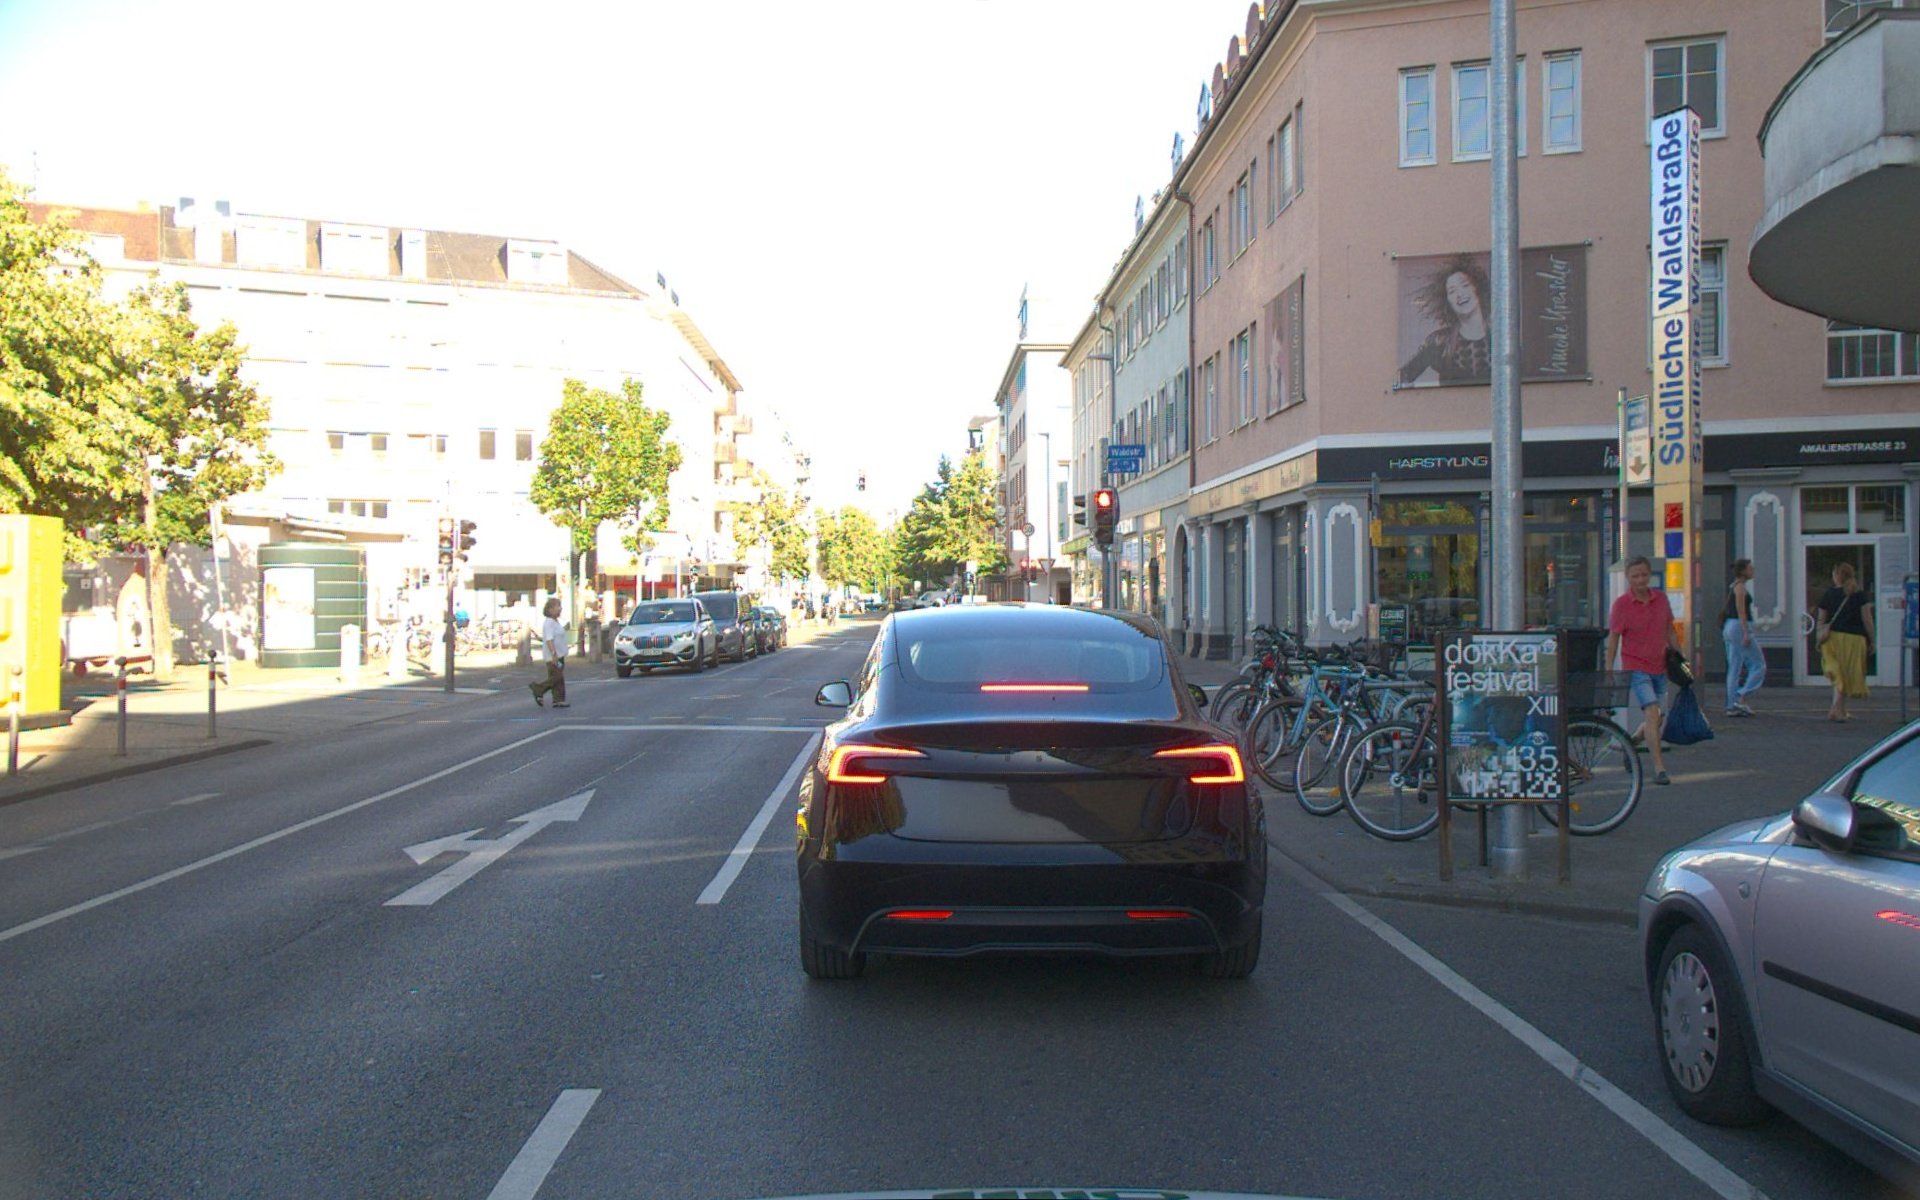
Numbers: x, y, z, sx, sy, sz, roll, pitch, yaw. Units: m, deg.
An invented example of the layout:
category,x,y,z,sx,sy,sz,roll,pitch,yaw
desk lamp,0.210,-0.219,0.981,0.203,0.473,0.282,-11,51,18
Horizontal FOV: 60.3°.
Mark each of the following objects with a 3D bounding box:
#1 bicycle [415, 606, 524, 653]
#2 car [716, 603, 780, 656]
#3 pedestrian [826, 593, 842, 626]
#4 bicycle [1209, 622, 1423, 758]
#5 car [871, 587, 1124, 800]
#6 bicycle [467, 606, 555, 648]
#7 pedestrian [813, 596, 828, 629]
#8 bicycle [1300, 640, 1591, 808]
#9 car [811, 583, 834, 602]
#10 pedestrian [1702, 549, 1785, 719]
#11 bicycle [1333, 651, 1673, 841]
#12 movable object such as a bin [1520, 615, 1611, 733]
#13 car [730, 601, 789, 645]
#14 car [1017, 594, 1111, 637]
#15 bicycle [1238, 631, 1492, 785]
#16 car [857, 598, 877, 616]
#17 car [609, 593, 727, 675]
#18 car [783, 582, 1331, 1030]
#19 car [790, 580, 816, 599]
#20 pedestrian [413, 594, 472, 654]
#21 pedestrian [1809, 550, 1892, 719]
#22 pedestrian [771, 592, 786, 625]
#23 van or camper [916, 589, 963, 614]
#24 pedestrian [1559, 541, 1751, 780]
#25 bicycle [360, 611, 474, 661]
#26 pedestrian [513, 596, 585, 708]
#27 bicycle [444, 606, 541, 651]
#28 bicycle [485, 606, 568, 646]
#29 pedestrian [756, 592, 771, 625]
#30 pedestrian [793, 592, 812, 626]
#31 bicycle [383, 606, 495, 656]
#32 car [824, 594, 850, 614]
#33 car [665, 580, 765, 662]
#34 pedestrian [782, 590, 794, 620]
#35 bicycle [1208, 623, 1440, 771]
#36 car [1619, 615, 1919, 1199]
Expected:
category,x,y,z,sx,sy,sz,roll,pitch,yaw
bicycle,-14.003,0.831,47.313,2.818,1.292,0.942,1,0,-4
car,-6.338,0.854,49.680,1.431,1.455,3.605,-3,0,-1
pedestrian,-7.289,0.550,95.563,0.761,1.900,1.005,1,-1,-14
bicycle,3.160,0.791,14.765,1.776,1.172,0.653,0,0,0
car,0.241,0.685,14.184,1.812,1.507,4.450,1,0,-1
bicycle,-14.064,0.851,51.906,2.491,1.273,0.942,1,0,-4
pedestrian,-8.060,0.718,95.626,0.683,1.900,0.906,1,-1,-14
bicycle,3.247,0.821,11.152,1.776,1.078,0.653,0,0,0
car,-15.607,-0.814,188.050,2.228,2.049,4.717,1,0,0
pedestrian,8.978,0.379,18.933,0.668,1.882,0.892,-4,-1,31
bicycle,3.276,0.874,10.080,1.844,1.062,0.653,-1,0,0
movable object such as a bin,6.040,0.731,16.530,0.623,1.122,0.728,-2,0,3
car,-6.828,0.765,56.624,1.660,1.414,3.914,-1,0,-3
car,4.709,0.702,74.730,3.937,1.900,1.686,0,0,-22
bicycle,3.047,0.804,12.555,1.776,1.121,0.653,0,0,0
car,-10.508,0.832,186.955,2.089,2.004,4.133,0,0,-1
car,-6.326,0.711,36.226,1.788,1.592,4.299,-4,0,-1
car,0.297,0.699,7.760,1.812,1.472,4.450,1,0,-1
car,-17.024,-1.127,179.394,2.228,2.049,4.717,1,0,0
pedestrian,-14.493,0.659,46.369,1.236,1.639,1.097,1,0,4
pedestrian,9.711,0.377,18.037,0.707,1.785,0.786,-3,-1,29
pedestrian,-10.616,0.498,96.858,0.721,1.900,0.787,1,-1,-17
van or camper,-2.074,0.173,167.508,4.752,2.481,1.850,0,0,-1
pedestrian,5.350,0.452,12.808,1.036,1.750,1.113,1,0,3
bicycle,-13.952,0.926,42.574,2.607,1.216,0.942,1,0,-4
pedestrian,-5.909,0.738,23.829,0.904,1.570,0.694,0,0,-6
bicycle,-14.012,0.847,49.631,2.609,1.281,0.942,1,0,-4
bicycle,-14.230,0.858,54.327,2.491,1.273,0.942,1,0,-4
pedestrian,-11.509,0.482,96.787,0.721,1.900,0.787,1,-1,-17
pedestrian,-8.997,0.515,94.407,0.719,1.900,0.790,1,-1,28
bicycle,-14.127,0.844,44.911,2.725,1.296,0.932,1,0,-4
car,-12.350,0.398,166.251,2.365,2.004,4.677,0,0,-1
car,-6.234,0.506,42.554,1.906,1.981,4.819,0,0,-1
pedestrian,-10.771,0.314,103.703,0.681,1.900,0.658,1,-1,-6
bicycle,2.976,0.782,13.628,1.776,1.172,0.653,0,0,0
car,2.919,0.780,3.526,1.551,1.451,3.579,1,0,-1
